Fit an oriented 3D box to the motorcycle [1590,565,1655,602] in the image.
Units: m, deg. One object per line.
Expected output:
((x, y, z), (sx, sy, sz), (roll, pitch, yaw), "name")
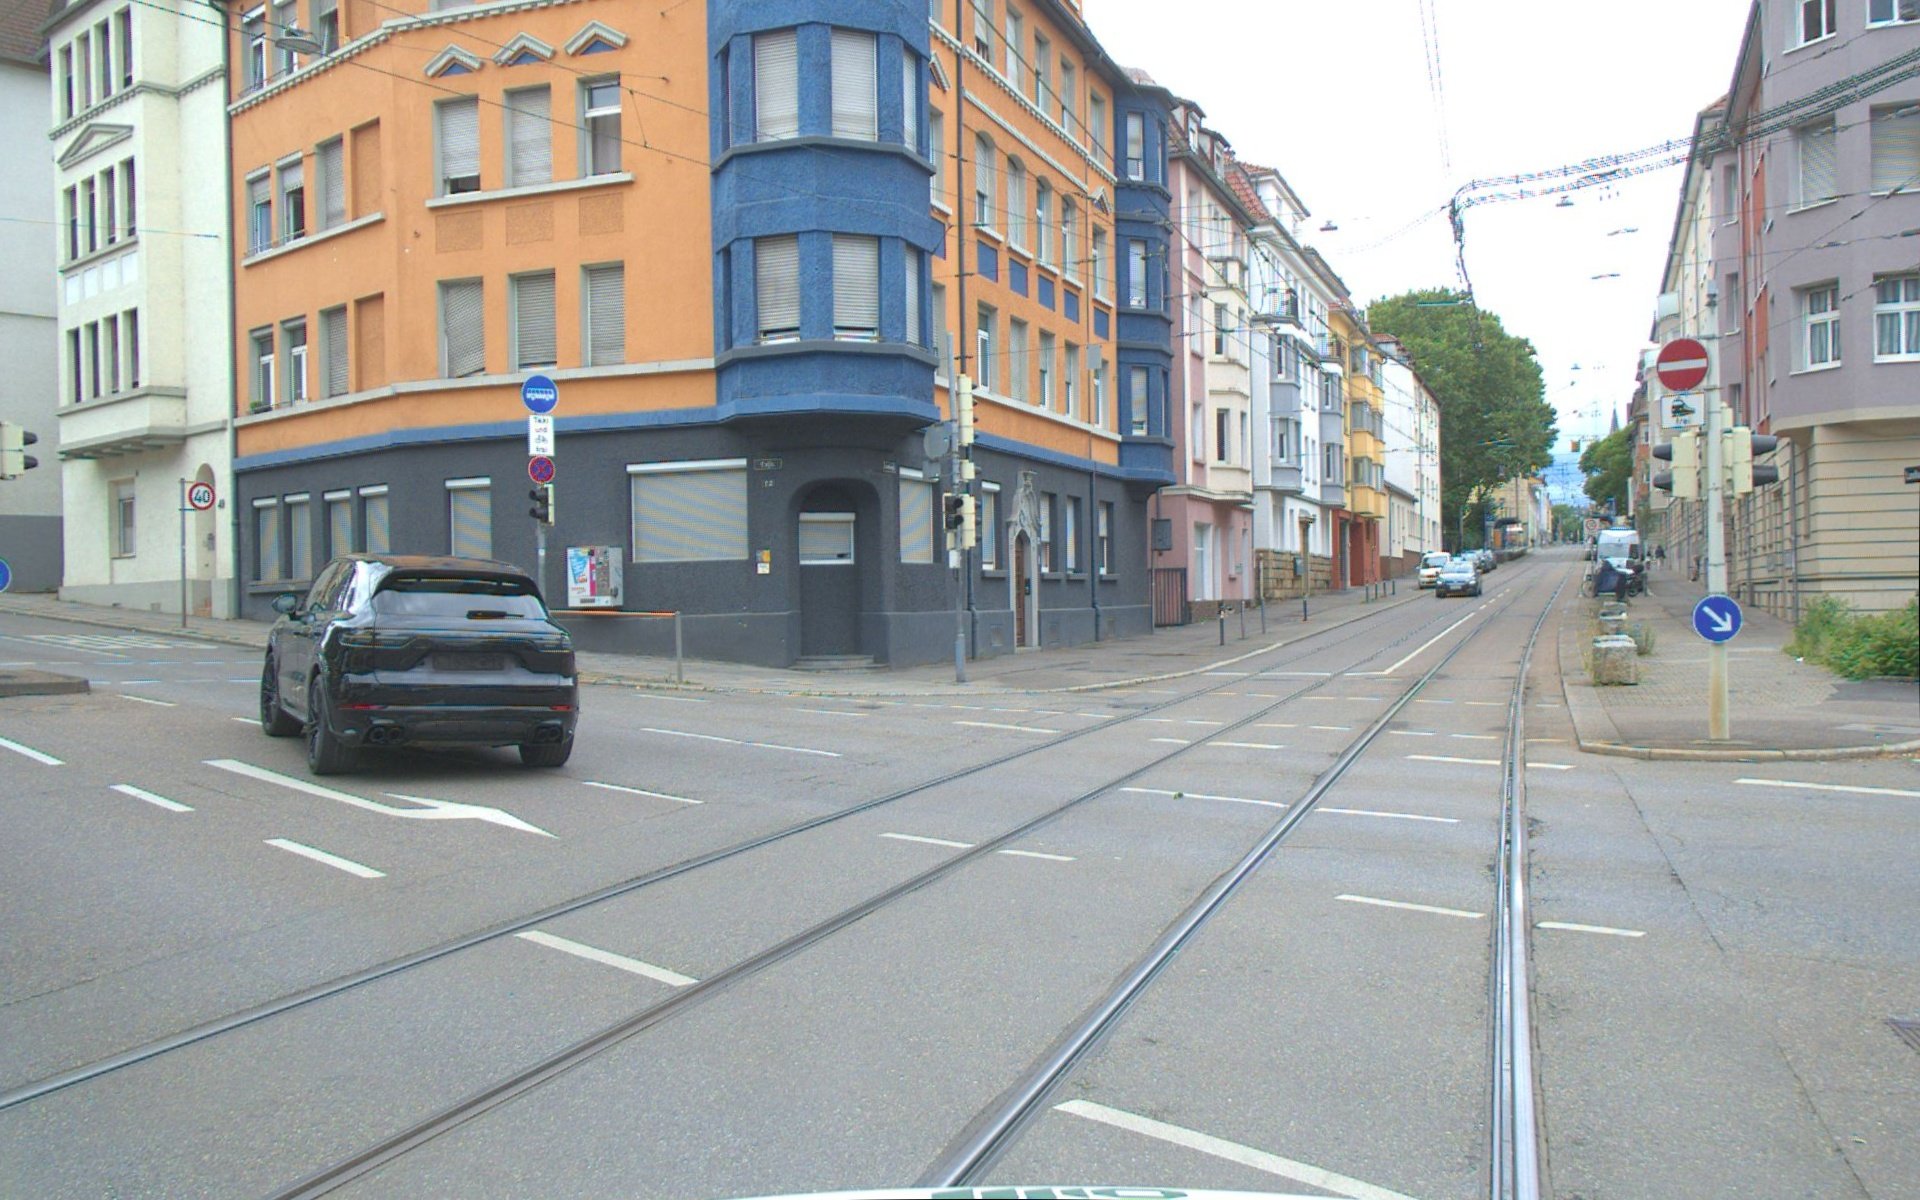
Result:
((24.676, -0.609, 61.600), (2.130, 1.350, 0.700), (1, 1, 11), "motorcycle")

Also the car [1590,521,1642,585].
((31.174, -2.202, 78.667), (2.221, 2.940, 4.769), (1, 1, 22), "car")

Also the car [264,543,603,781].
((-4.613, 0.432, 14.036), (2.001, 1.670, 4.316), (2, 0, -28), "car")

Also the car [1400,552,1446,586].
((24.469, -1.633, 87.363), (1.953, 1.722, 4.000), (1, 1, 22), "car")

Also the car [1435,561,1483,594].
((21.186, -0.967, 70.173), (1.651, 1.350, 3.662), (1, 1, 21), "car")

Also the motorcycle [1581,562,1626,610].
((19.993, -0.444, 51.447), (0.841, 1.349, 2.186), (-6, 0, 12), "motorcycle")

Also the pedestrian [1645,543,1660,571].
((41.794, -2.583, 99.787), (0.670, 1.661, 0.670), (0, -3, 42), "pedestrian")

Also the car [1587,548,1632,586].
((28.810, -1.461, 73.419), (1.802, 1.596, 3.819), (1, 1, 22), "car")
